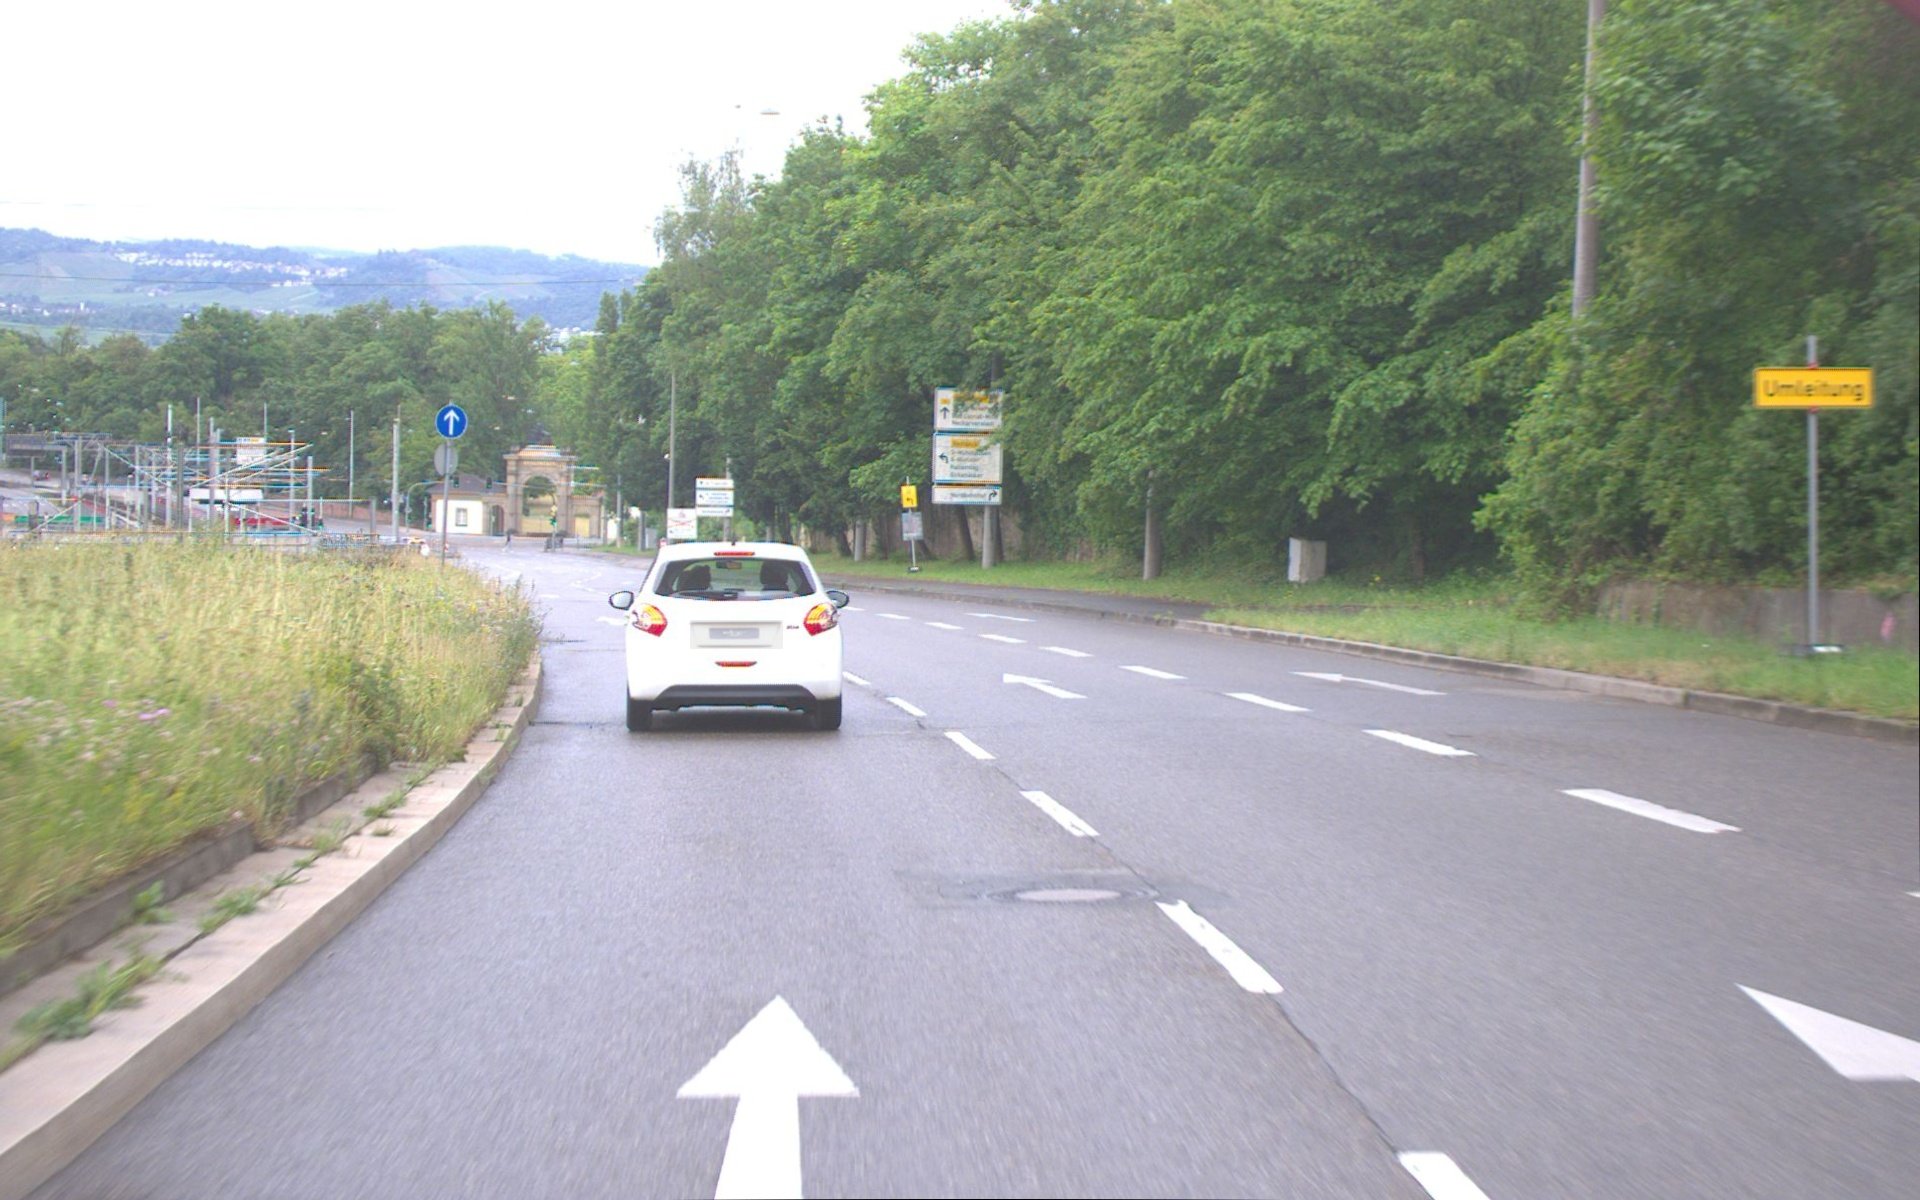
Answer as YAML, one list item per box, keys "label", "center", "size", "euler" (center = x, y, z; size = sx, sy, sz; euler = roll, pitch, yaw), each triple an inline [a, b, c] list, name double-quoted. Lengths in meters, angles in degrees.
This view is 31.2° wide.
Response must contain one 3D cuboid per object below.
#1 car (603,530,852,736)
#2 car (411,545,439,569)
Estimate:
- label: "car"
  center: [-1.906, 0.209, 27.810]
  size: [1.868, 1.505, 3.900]
  euler: [0, 2, -5]
- label: "car"
  center: [-37.631, -3.058, 241.993]
  size: [1.822, 1.600, 4.001]
  euler: [-2, 1, -8]
